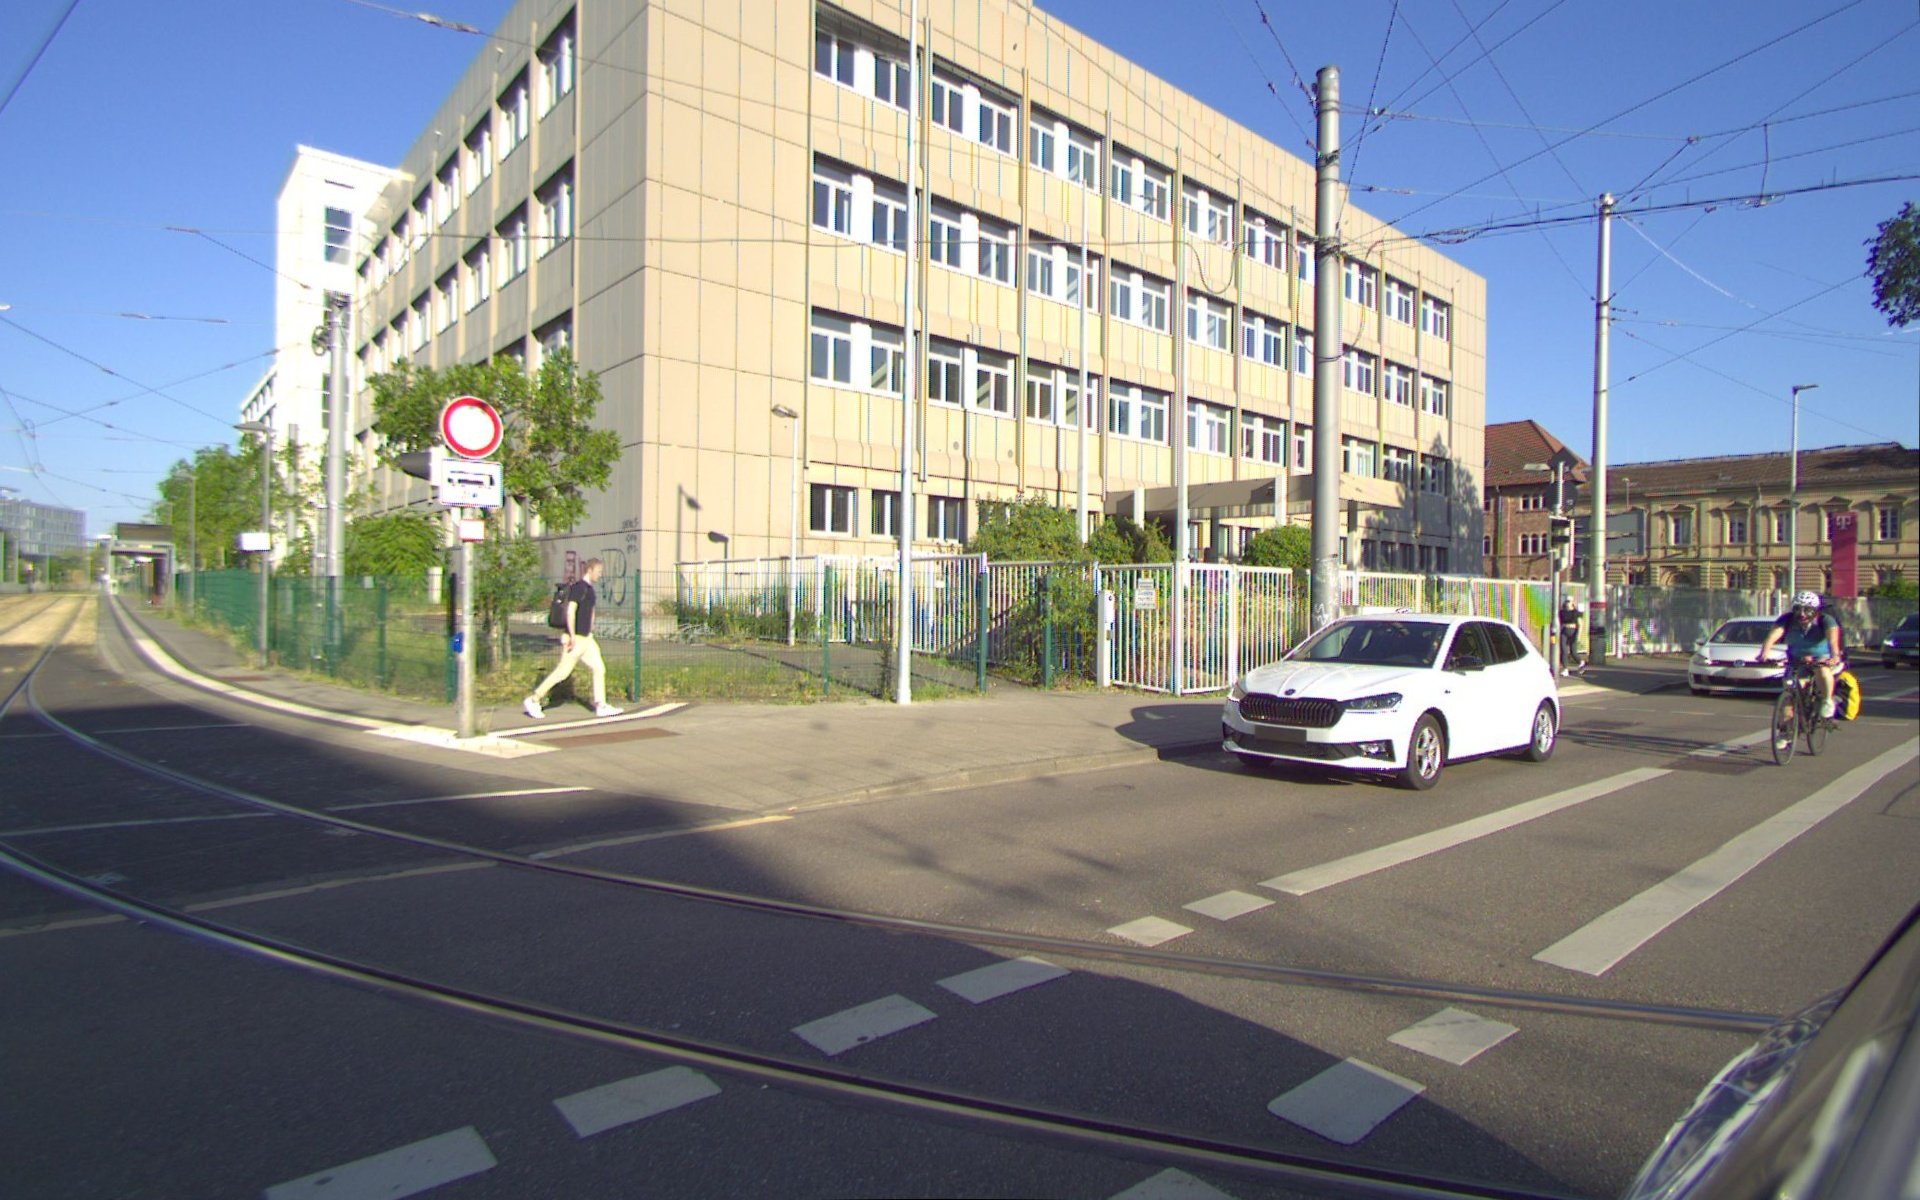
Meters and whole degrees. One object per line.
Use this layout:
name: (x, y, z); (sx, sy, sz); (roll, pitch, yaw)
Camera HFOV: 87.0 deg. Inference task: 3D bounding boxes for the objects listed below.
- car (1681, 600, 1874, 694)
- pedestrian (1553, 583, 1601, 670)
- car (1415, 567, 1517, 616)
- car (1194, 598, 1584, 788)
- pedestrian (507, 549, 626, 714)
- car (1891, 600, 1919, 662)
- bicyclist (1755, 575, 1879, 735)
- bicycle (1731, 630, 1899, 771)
car: (14.957, 0.797, 18.447); (4.222, 1.522, 1.792); (0, -2, -38)
pedestrian: (12.871, 0.539, 21.103); (0.756, 1.784, 0.592); (1, 0, -36)
car: (20.245, -0.325, 40.418); (4.701, 1.866, 1.997); (1, 0, -41)
car: (4.113, 0.705, 9.426); (4.001, 1.407, 1.704); (1, -1, -40)
pedestrian: (-4.514, 0.352, 11.657); (1.063, 1.836, 0.735); (0, 0, 6)
car: (27.376, 0.820, 28.050); (4.226, 1.664, 1.791); (0, -2, -41)
bicyclist: (8.203, 0.500, 9.687); (0.843, 1.440, 0.728); (0, -1, -37)
bicycle: (8.240, 0.895, 9.714); (2.264, 1.159, 0.764); (1, 0, -38)
